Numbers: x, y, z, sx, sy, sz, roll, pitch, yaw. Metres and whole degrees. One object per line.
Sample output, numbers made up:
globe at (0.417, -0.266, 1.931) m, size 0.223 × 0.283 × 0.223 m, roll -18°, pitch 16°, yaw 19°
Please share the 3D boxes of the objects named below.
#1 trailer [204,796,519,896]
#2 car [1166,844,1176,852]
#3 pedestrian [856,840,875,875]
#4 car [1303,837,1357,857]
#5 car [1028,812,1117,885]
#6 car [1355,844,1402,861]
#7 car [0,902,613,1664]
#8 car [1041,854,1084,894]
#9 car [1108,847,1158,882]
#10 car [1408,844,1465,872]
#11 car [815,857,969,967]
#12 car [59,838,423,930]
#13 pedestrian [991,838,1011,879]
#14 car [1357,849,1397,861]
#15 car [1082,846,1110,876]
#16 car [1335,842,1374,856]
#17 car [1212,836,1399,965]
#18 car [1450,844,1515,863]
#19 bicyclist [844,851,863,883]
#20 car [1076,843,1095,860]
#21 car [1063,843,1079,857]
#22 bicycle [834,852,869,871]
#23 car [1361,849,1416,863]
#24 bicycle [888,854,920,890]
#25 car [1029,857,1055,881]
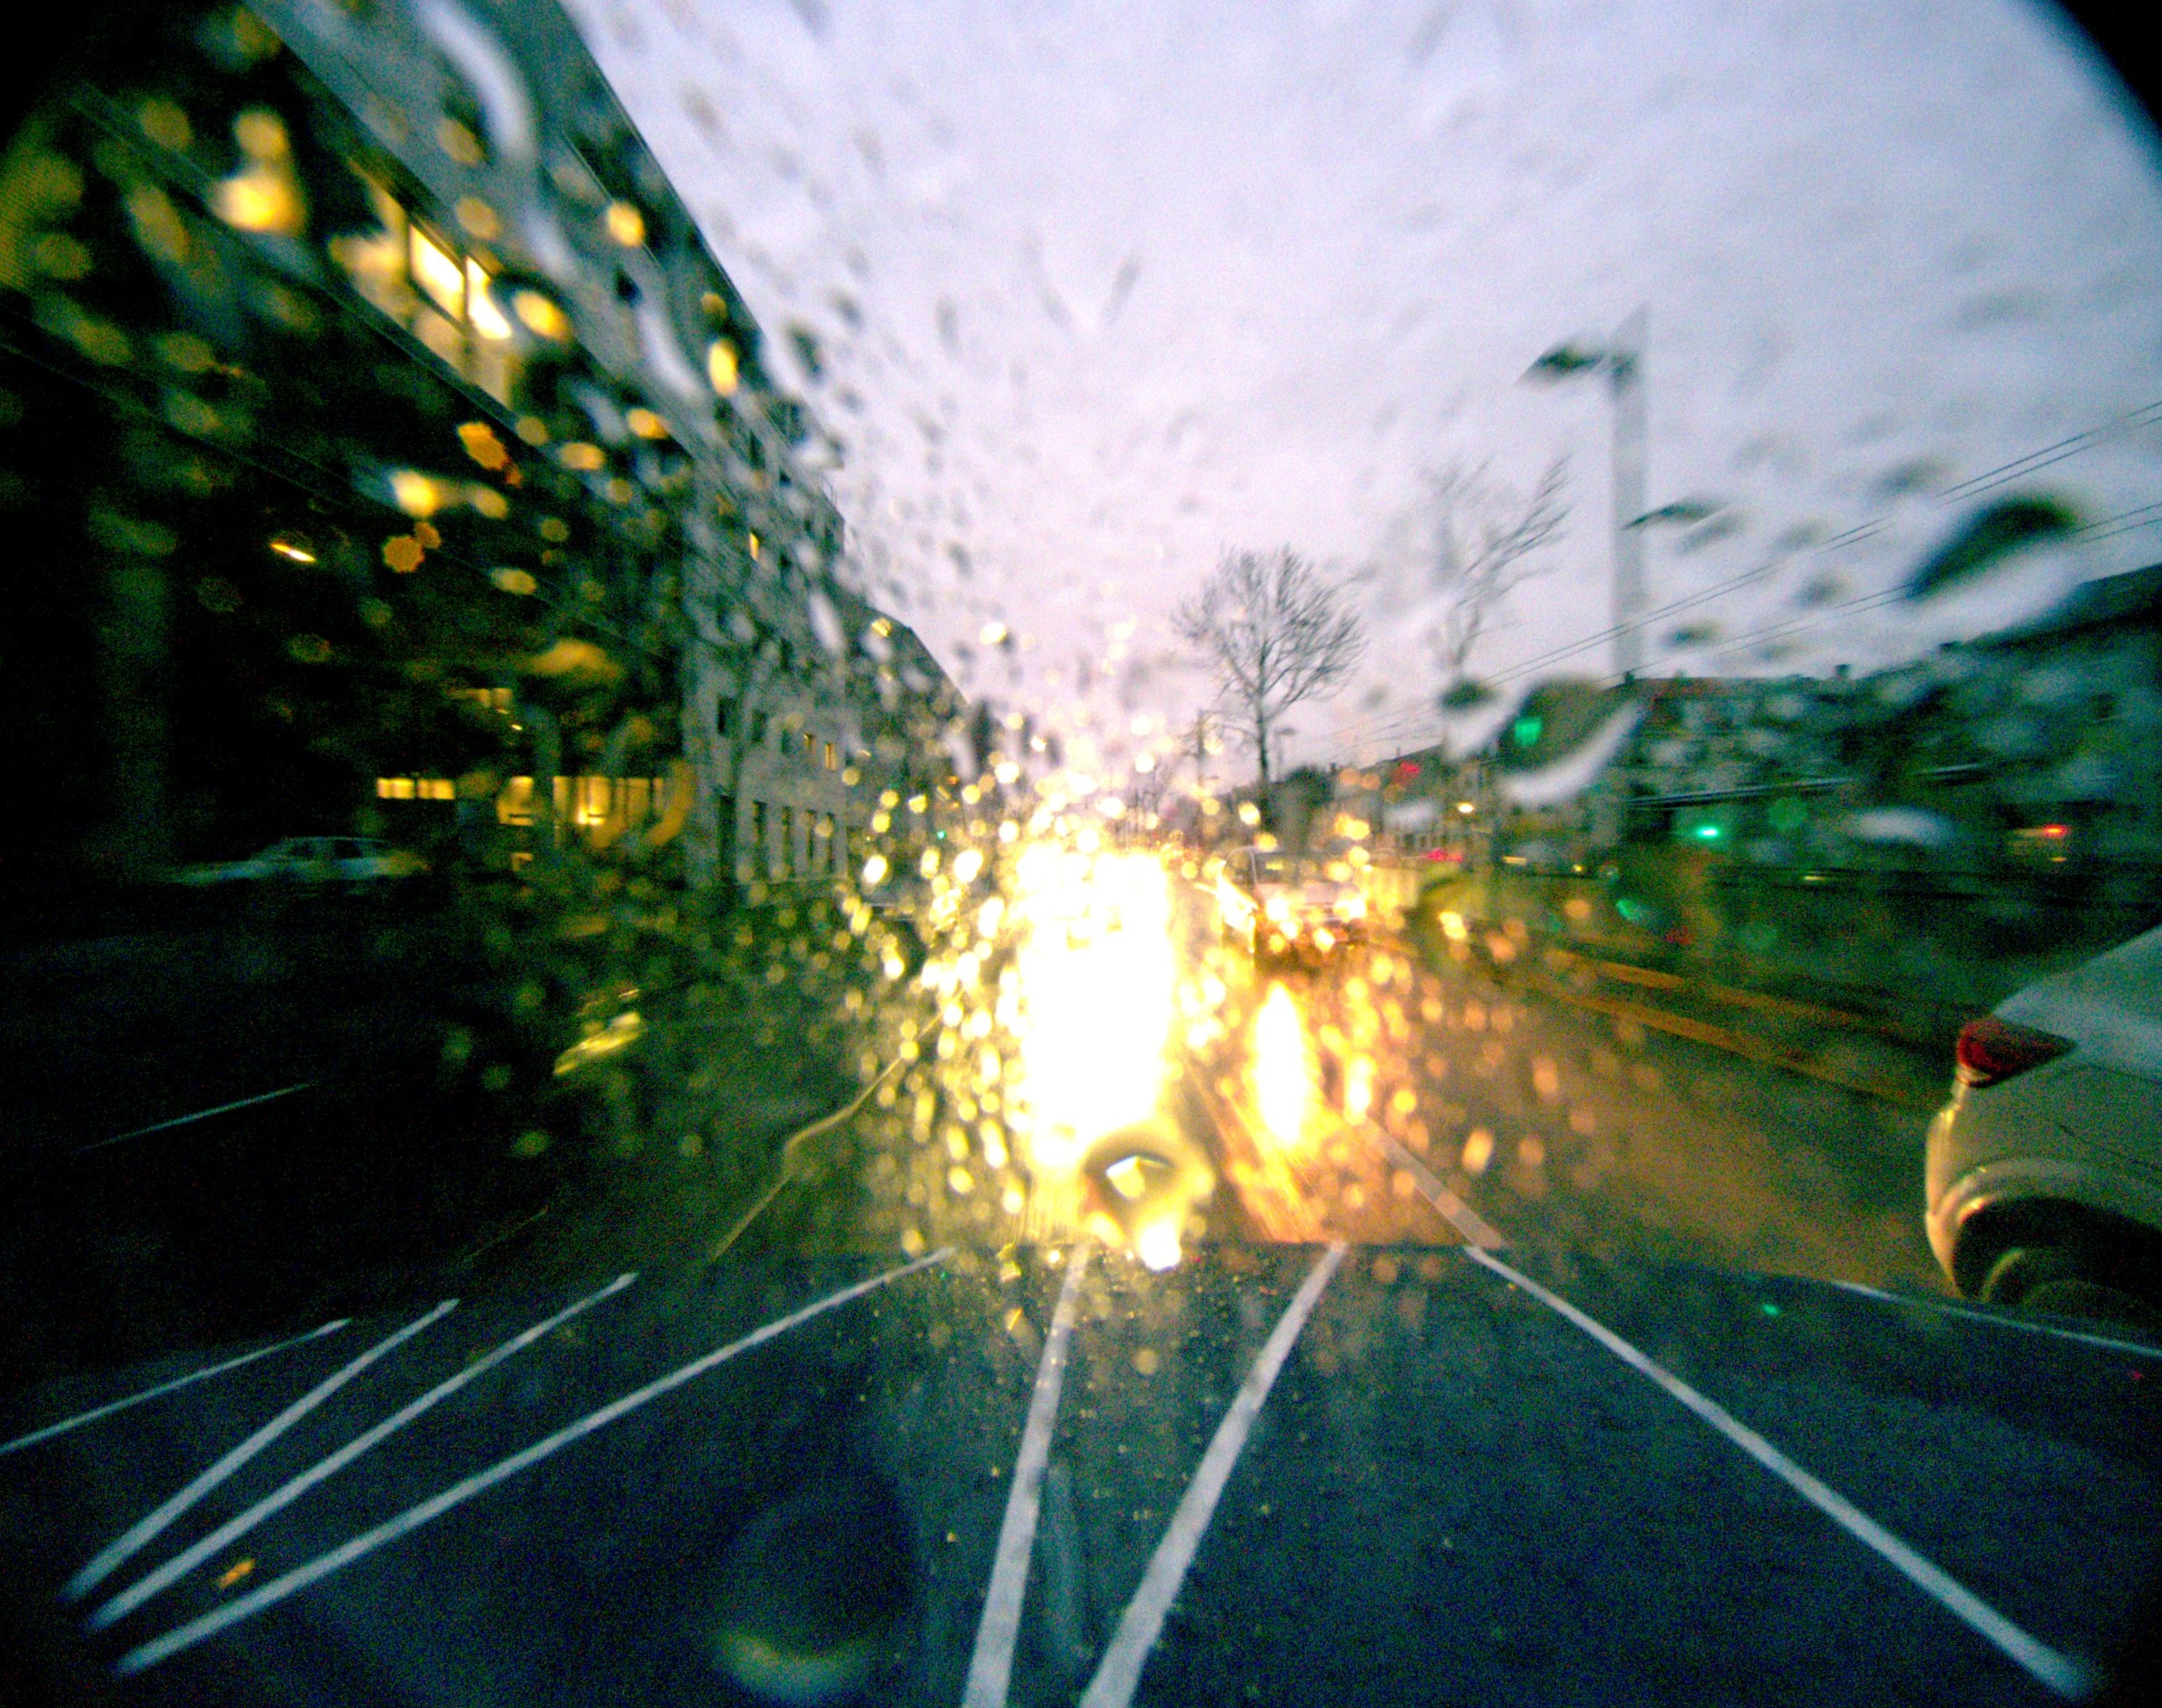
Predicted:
trailer at (-19.523, -0.230, 20.908) m, size 6.275 × 2.566 × 2.209 m, roll 0°, pitch 1°, yaw -4°
car at (24.821, -1.672, 209.131) m, size 1.999 × 2.002 × 3.998 m, roll -2°, pitch 2°, yaw -2°
pedestrian at (-10.884, 0.173, 38.389) m, size 0.739 × 1.726 × 0.702 m, roll -2°, pitch 2°, yaw -3°
car at (30.291, -0.805, 92.566) m, size 5.893 × 2.242 × 1.825 m, roll -1°, pitch 2°, yaw 33°
car at (-0.143, -0.162, 17.265) m, size 1.757 × 1.418 × 3.803 m, roll -2°, pitch 1°, yaw 1°
car at (28.883, -0.141, 73.753) m, size 4.002 × 1.496 × 1.315 m, roll -1°, pitch 2°, yaw 35°
car at (-3.064, 0.942, 1.232) m, size 1.758 × 1.395 × 4.251 m, roll -2°, pitch 0°, yaw 3°
car at (-0.778, 0.837, 33.841) m, size 1.764 × 1.520 × 3.733 m, roll -2°, pitch 1°, yaw 0°
car at (2.376, 0.459, 35.623) m, size 1.975 × 1.492 × 4.091 m, roll -2°, pitch 0°, yaw -1°
car at (21.882, 0.206, 46.944) m, size 1.527 × 1.630 × 3.747 m, roll -1°, pitch 1°, yaw -5°
car at (-3.081, 0.866, 13.268) m, size 1.600 × 1.432 × 4.227 m, roll 2°, pitch 1°, yaw 0°
car at (-14.612, 0.405, 13.713) m, size 1.636 × 1.363 × 4.528 m, roll 1°, pitch 1°, yaw -2°
pedestrian at (-3.630, 0.178, 34.433) m, size 0.773 × 1.798 × 0.699 m, roll 3°, pitch 2°, yaw -3°
car at (27.795, 0.108, 71.317) m, size 3.305 × 1.125 × 1.316 m, roll 0°, pitch 1°, yaw 34°
car at (0.963, 0.436, 49.235) m, size 1.729 × 1.730 × 4.053 m, roll -2°, pitch 1°, yaw 1°
car at (28.931, -0.516, 80.369) m, size 3.599 × 1.376 × 1.316 m, roll -1°, pitch 0°, yaw 32°
car at (3.385, 0.589, 12.286) m, size 2.020 × 1.667 × 4.000 m, roll -2°, pitch 1°, yaw 4°
car at (28.936, -0.006, 54.740) m, size 3.989 × 1.249 × 1.446 m, roll -1°, pitch 2°, yaw 33°
bicyclist at (-13.383, 0.767, 44.697) m, size 0.730 × 1.811 × 0.842 m, roll -1°, pitch -2°, yaw 23°
car at (0.538, -0.297, 84.505) m, size 1.998 × 1.774 × 3.696 m, roll -2°, pitch 2°, yaw 2°
car at (-1.345, -0.584, 105.707) m, size 1.998 × 1.784 × 3.809 m, roll -3°, pitch 2°, yaw 0°
bicycle at (-13.540, 0.472, 44.766) m, size 1.864 × 1.084 × 0.856 m, roll -1°, pitch -2°, yaw 23°
car at (27.551, 0.188, 68.165) m, size 4.393 × 1.125 × 1.250 m, roll 0°, pitch 2°, yaw 34°
bicycle at (-5.959, 0.592, 25.680) m, size 0.552 × 1.109 × 2.165 m, roll 1°, pitch 2°, yaw 0°
car at (-3.002, 1.163, 59.175) m, size 1.610 × 1.666 × 3.685 m, roll -2°, pitch 1°, yaw 3°
